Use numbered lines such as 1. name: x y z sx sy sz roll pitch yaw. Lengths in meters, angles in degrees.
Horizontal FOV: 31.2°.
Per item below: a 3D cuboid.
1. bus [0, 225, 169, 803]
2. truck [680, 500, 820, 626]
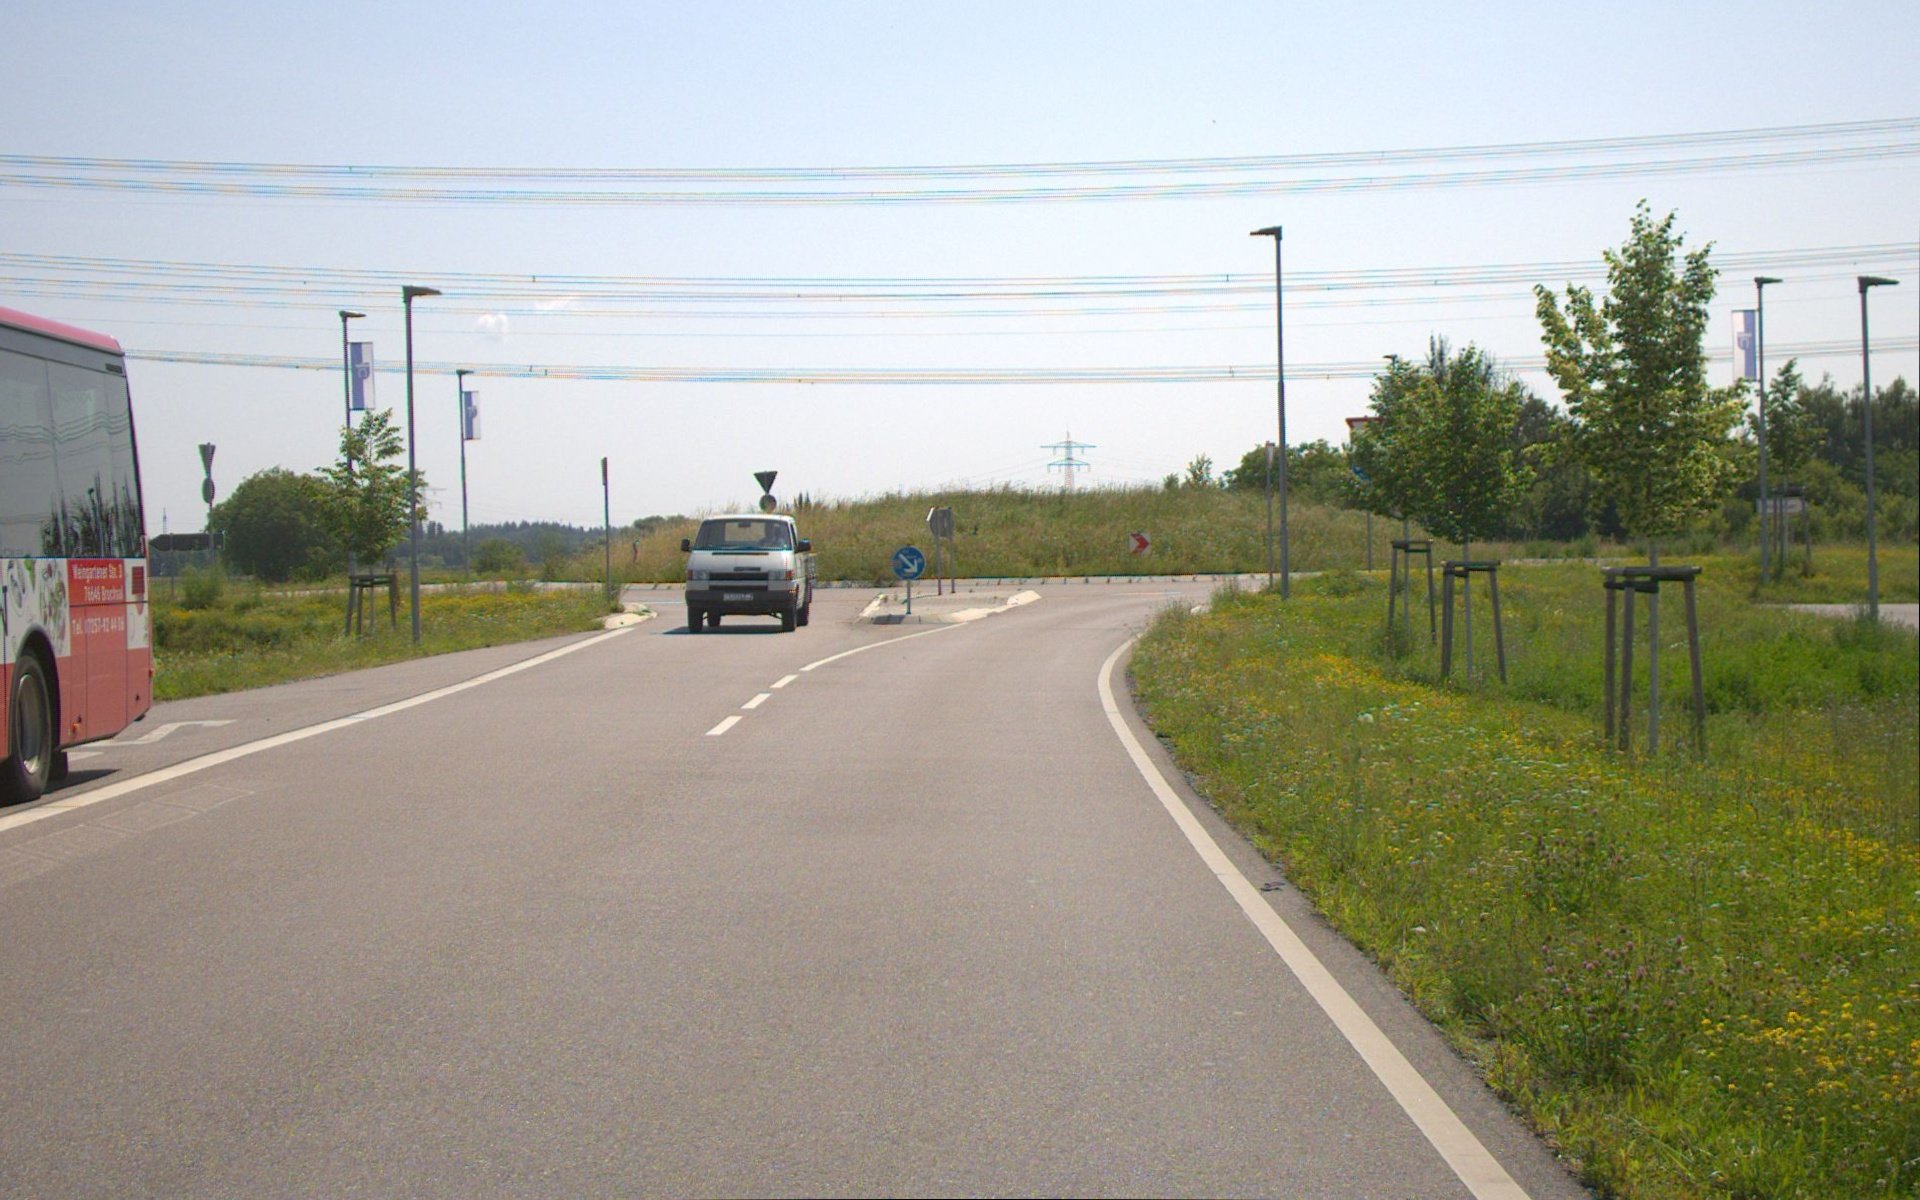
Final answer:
1. bus: -6.782 -0.418 17.565 2.794 3.275 12.230 -2 1 -1
2. truck: -3.522 -0.658 58.692 1.951 1.978 5.644 -2 1 0
